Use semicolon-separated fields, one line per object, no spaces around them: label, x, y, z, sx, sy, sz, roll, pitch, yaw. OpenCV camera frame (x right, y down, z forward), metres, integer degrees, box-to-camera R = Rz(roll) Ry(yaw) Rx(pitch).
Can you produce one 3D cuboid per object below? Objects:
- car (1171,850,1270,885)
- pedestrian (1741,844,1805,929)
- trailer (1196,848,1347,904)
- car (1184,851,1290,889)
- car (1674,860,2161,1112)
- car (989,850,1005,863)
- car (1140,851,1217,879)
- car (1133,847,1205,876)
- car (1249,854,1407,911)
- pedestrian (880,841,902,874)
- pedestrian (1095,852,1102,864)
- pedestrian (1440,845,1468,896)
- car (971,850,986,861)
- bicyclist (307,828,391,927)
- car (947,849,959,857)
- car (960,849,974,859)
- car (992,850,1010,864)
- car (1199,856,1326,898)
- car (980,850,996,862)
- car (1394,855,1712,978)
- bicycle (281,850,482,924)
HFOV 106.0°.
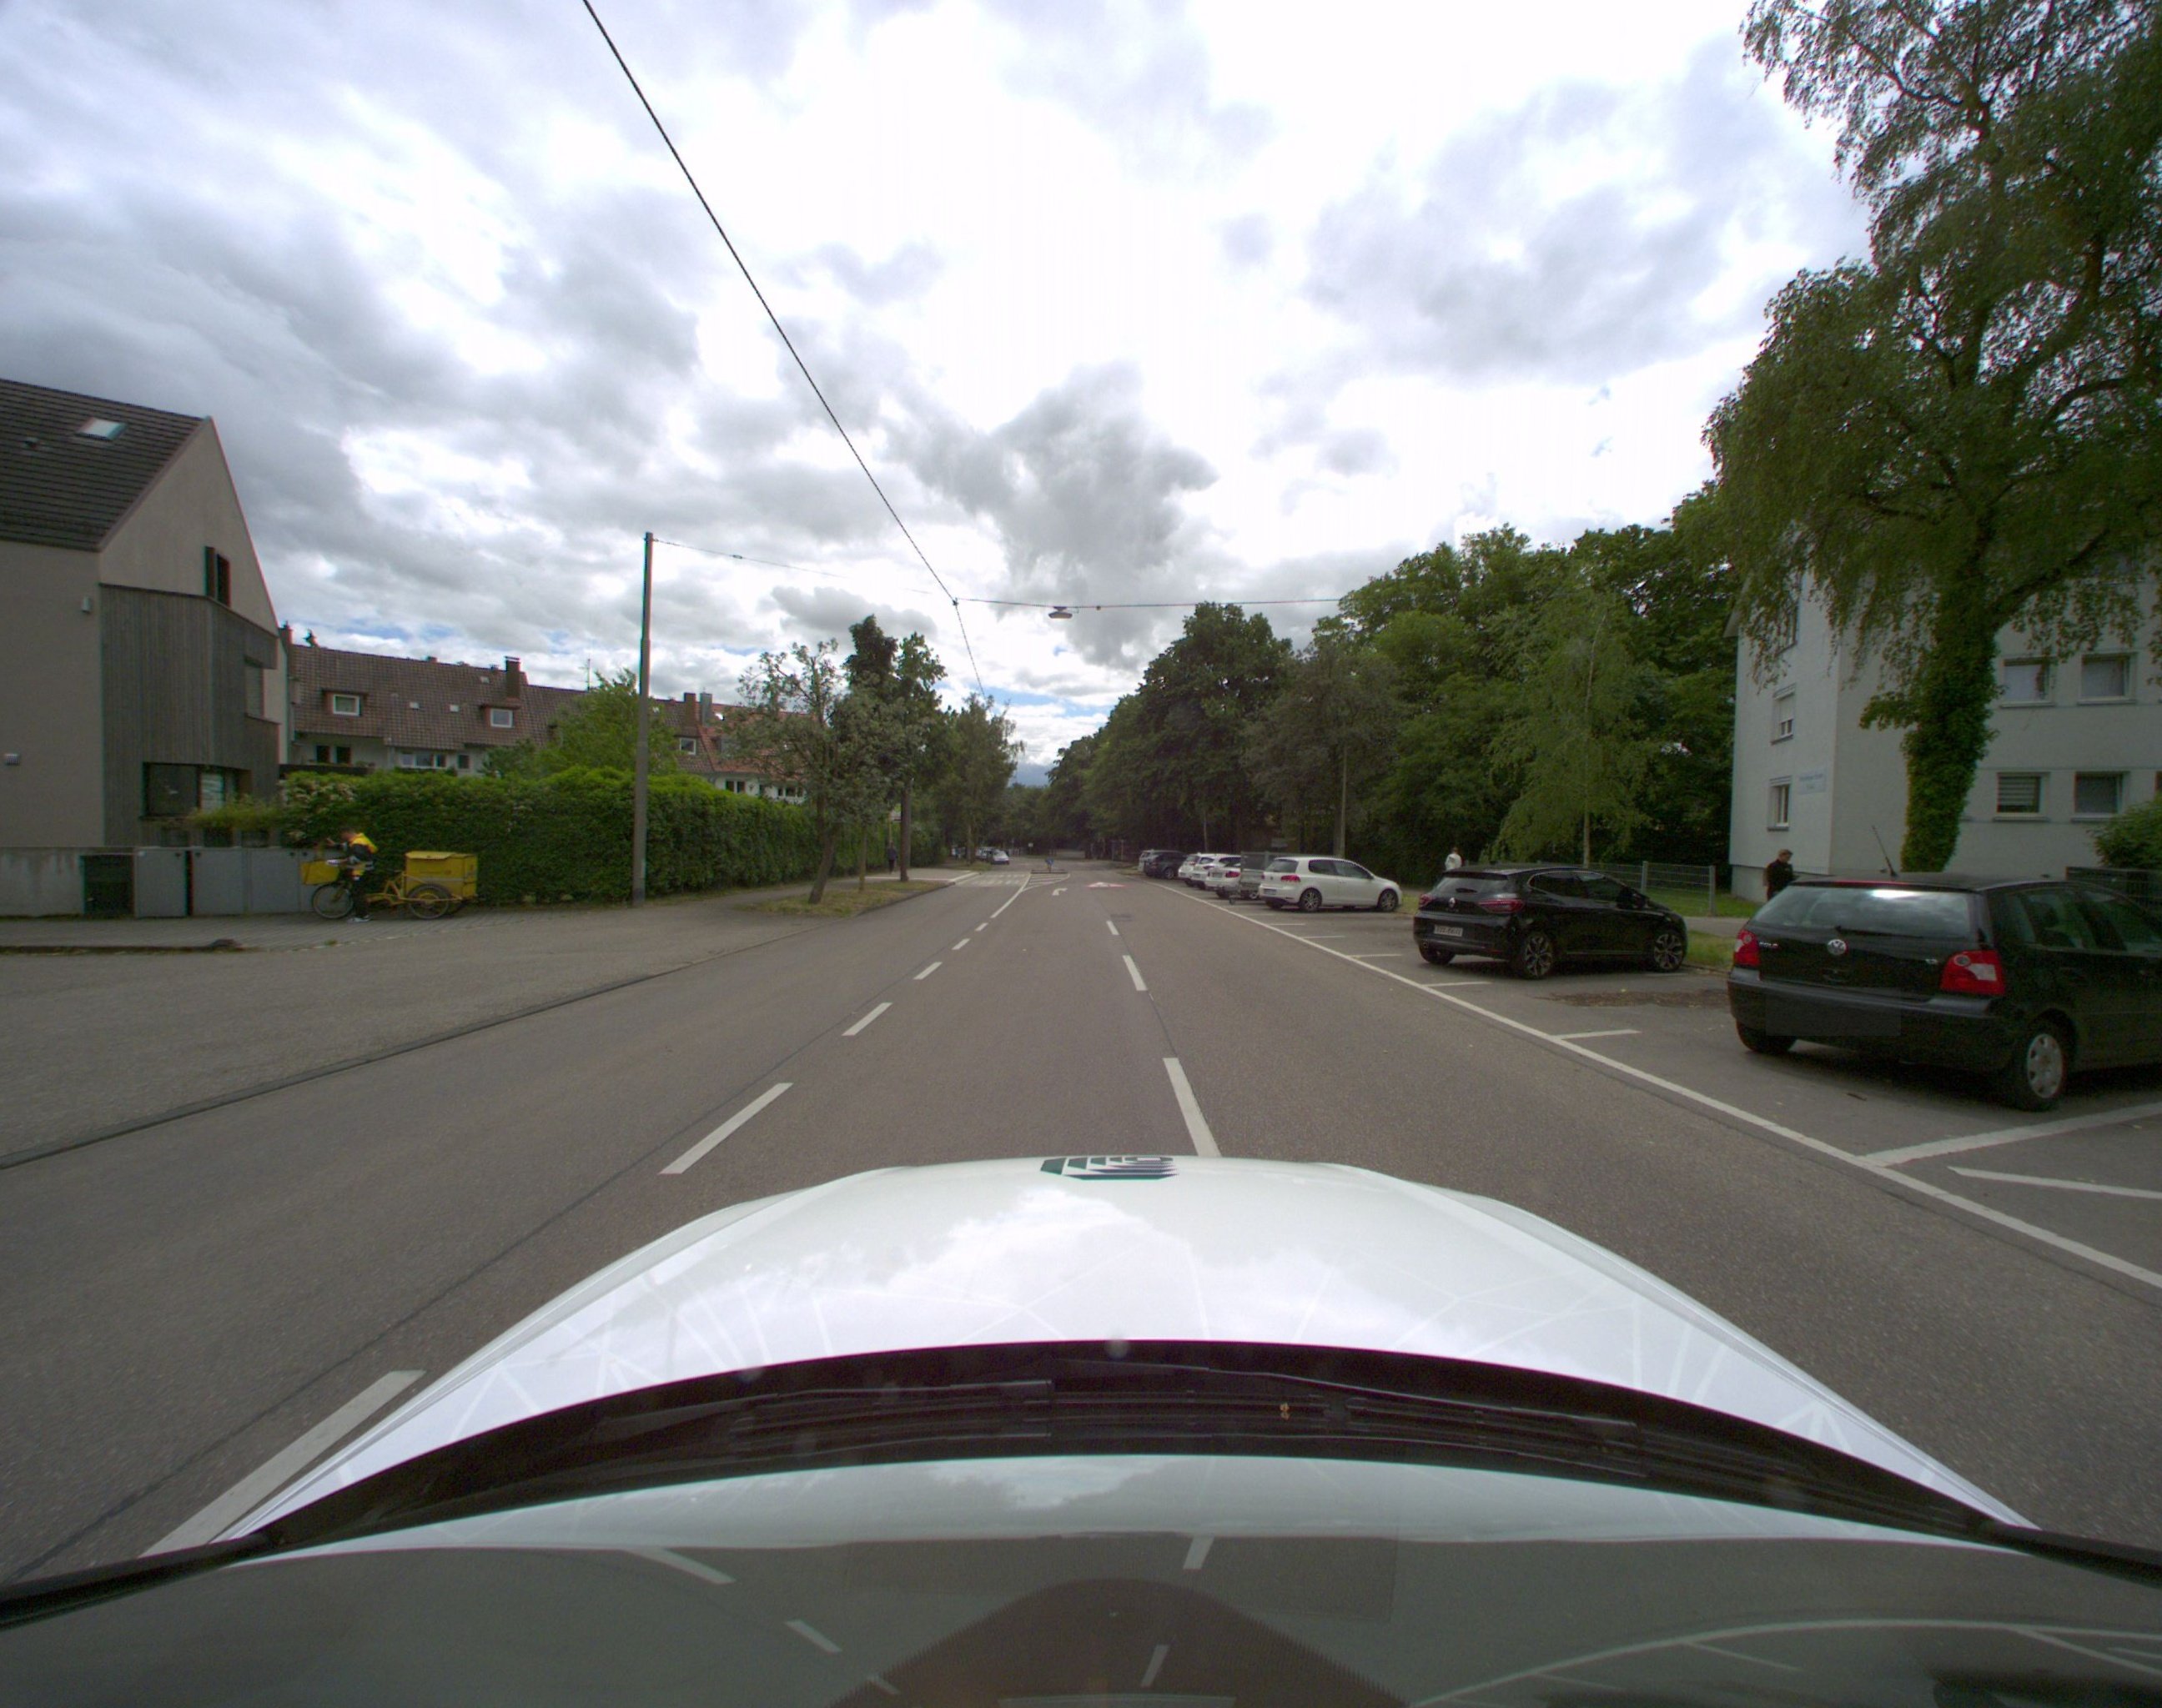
car;6.096;0.601;35.658;3.895;1.429;1.733;1;0;-19
pedestrian;13.411;0.609;15.791;0.646;1.603;0.745;0;0;6
trailer;5.752;0.666;24.609;4.165;1.573;1.702;2;0;-18
car;6.320;0.648;33.079;3.895;1.429;1.733;1;0;-19
car;6.882;0.829;6.271;3.896;1.449;1.833;2;0;-19
car;-9.625;0.249;93.441;1.864;1.471;3.992;0;0;-6
car;5.466;0.608;45.669;3.895;1.429;1.733;1;0;-19
car;5.239;0.449;48.461;3.895;1.668;1.733;1;0;-19
car;6.792;0.766;22.419;3.897;1.449;1.732;1;0;-20
pedestrian;-10.164;0.172;43.576;0.972;1.730;0.848;0;0;-3
pedestrian;2.175;0.492;103.382;0.736;1.570;0.654;0;0;12
pedestrian;12.475;0.548;27.263;0.646;1.671;0.745;0;0;7
car;-14.638;0.196;116.182;1.868;1.471;3.984;0;0;-12
bicyclist;-13.102;0.403;14.602;0.709;1.697;0.847;1;1;-1
car;-22.224;-0.164;141.581;1.868;1.471;3.984;0;0;-12
car;-17.689;0.033;125.908;1.868;1.471;3.984;0;0;-12
car;-8.660;0.291;87.854;1.864;1.471;3.992;0;0;-6
car;6.078;0.774;27.293;3.901;1.309;1.730;1;0;-23
car;-12.014;0.265;105.294;1.864;1.471;3.992;0;0;-6
car;6.518;0.780;11.278;3.900;1.449;1.830;1;0;-23
bicycle;-12.779;0.594;14.993;2.651;1.266;0.842;1;1;-19
